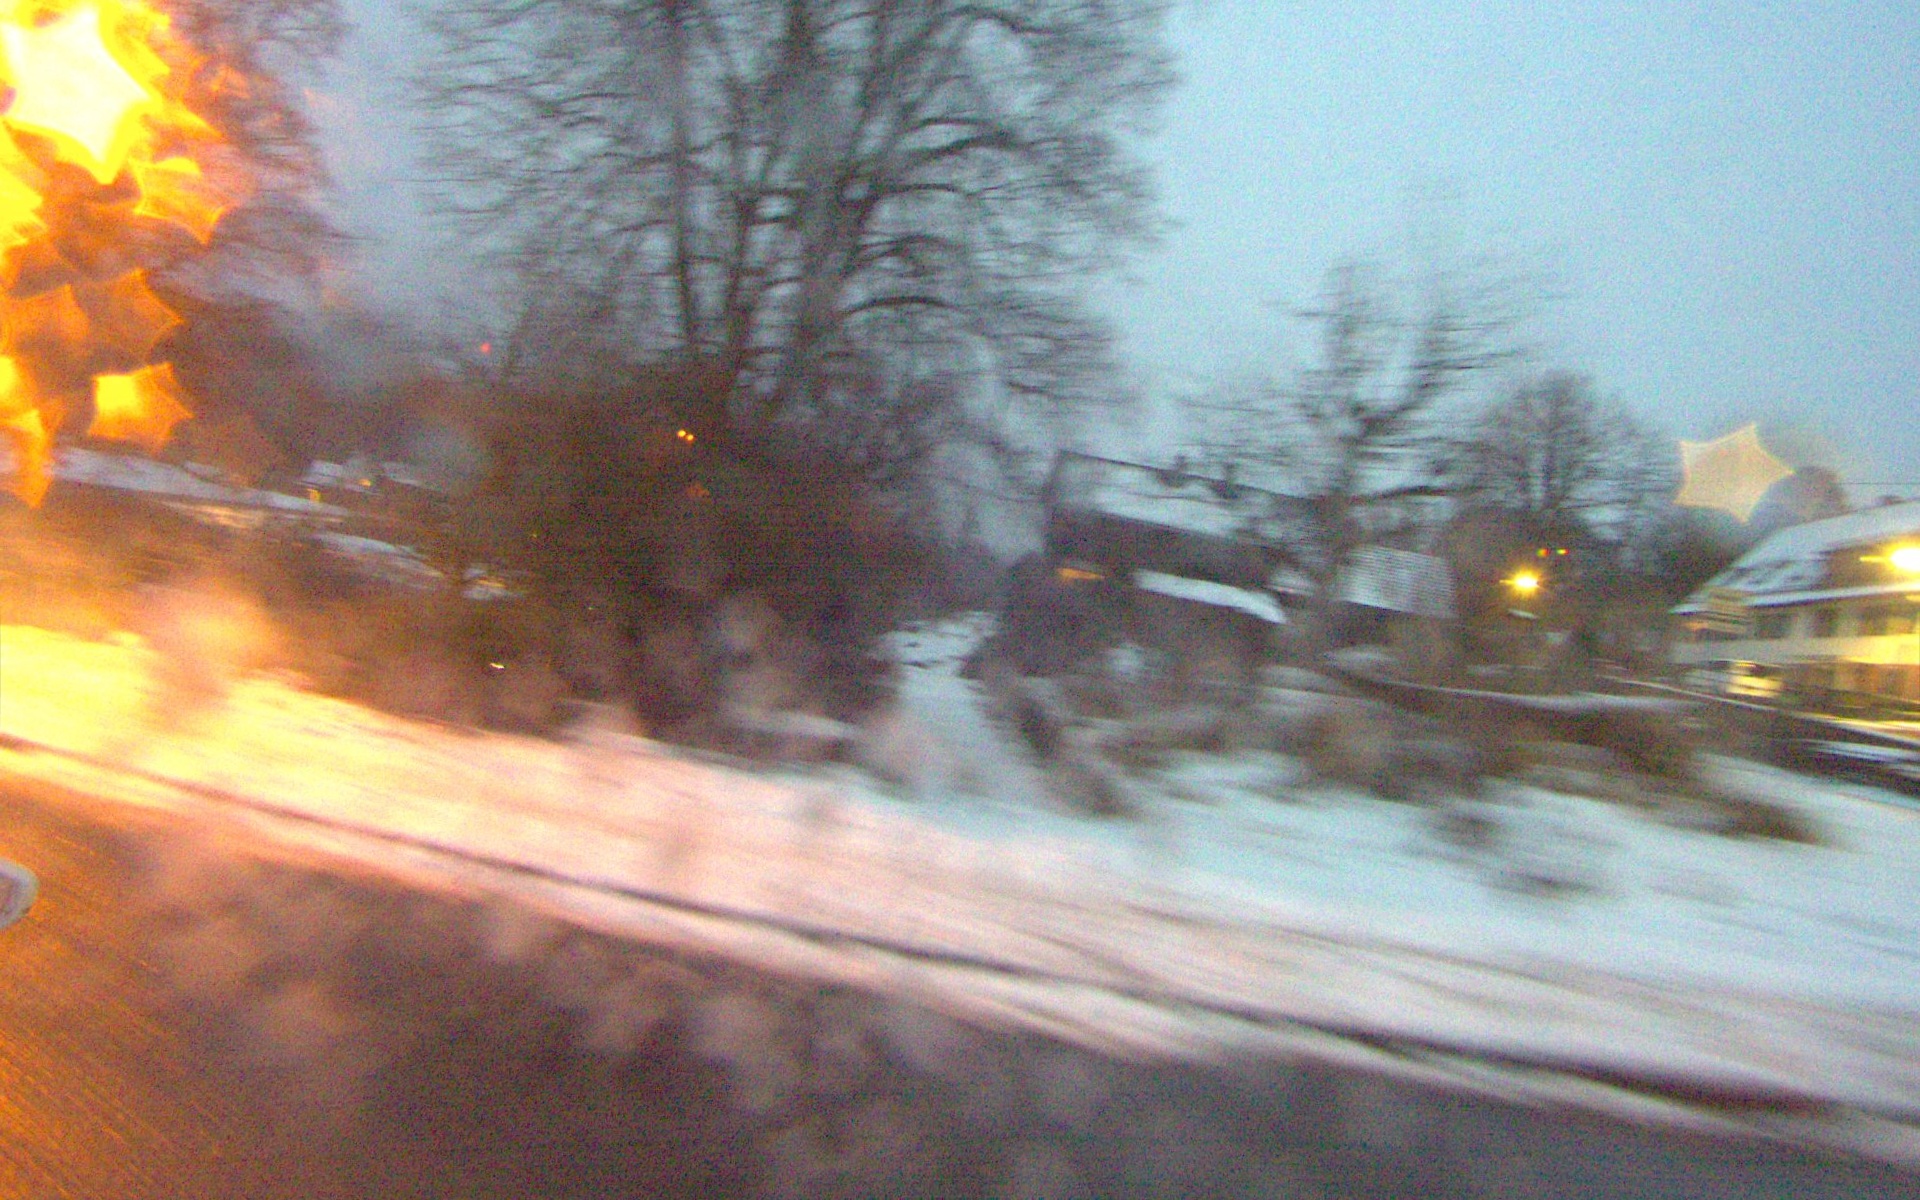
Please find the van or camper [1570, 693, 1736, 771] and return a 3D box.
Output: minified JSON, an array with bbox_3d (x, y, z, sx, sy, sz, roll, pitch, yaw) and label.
[{"bbox_3d":[14.412,2.711,21.127,1.263,1.113,3.276,11,-1,5],"label":"van or camper"}]
